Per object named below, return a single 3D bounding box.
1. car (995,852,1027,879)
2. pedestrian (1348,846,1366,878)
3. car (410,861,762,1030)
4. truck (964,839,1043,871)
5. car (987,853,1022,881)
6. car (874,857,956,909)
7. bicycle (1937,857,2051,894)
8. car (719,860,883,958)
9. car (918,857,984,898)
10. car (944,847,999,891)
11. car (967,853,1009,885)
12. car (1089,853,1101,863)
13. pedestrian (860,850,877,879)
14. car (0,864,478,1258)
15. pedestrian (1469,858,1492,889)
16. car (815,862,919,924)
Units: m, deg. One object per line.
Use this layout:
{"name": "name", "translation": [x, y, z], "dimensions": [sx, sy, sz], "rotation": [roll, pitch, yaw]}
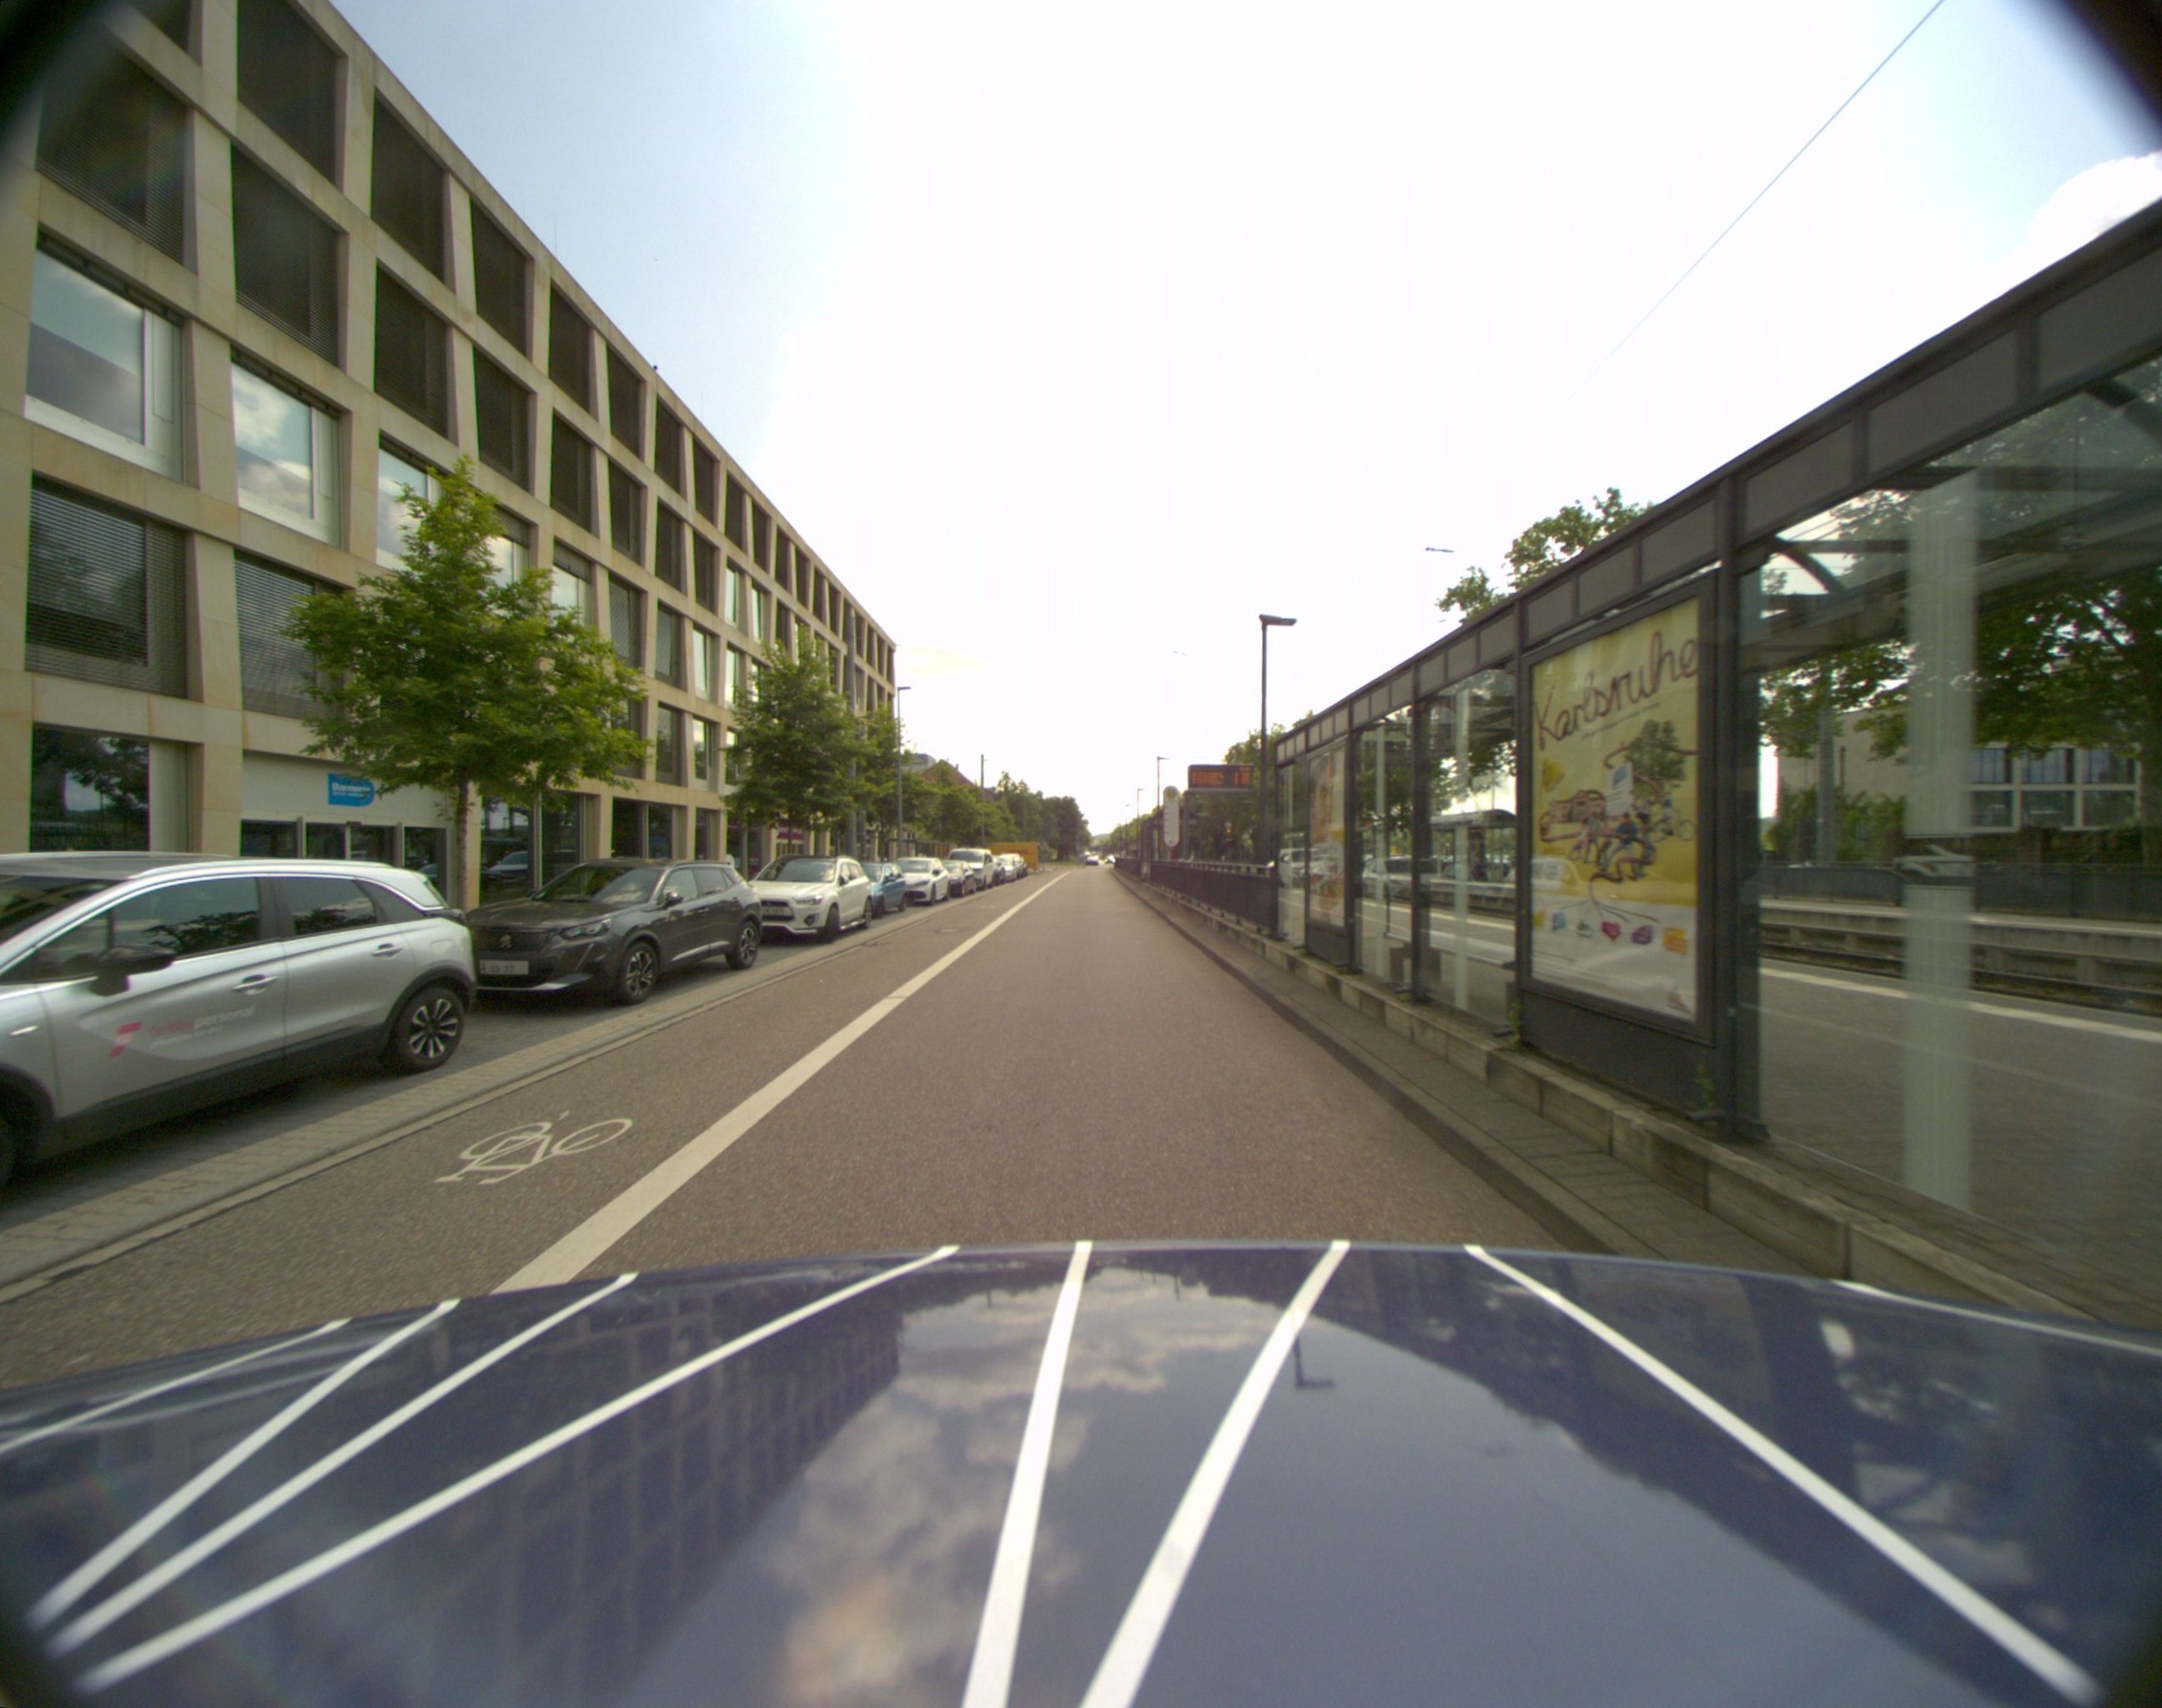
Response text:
{"name": "car", "translation": [-4.772, 0.747, 52.408], "dimensions": [1.773, 1.757, 4.839], "rotation": [0, 0, 0]}
{"name": "pedestrian", "translation": [15.920, 0.460, 43.880], "dimensions": [0.708, 1.834, 0.864], "rotation": [0, 1, -1]}
{"name": "car", "translation": [-5.575, 0.895, 9.253], "dimensions": [1.689, 1.539, 3.926], "rotation": [1, 0, 0]}
{"name": "truck", "translation": [-6.844, 0.071, 67.958], "dimensions": [6.824, 2.851, 2.454], "rotation": [0, 1, -2]}
{"name": "car", "translation": [-4.728, 0.778, 47.363], "dimensions": [1.725, 1.610, 3.860], "rotation": [0, 0, 0]}
{"name": "car", "translation": [-5.482, 0.915, 25.558], "dimensions": [1.797, 1.521, 4.158], "rotation": [1, 0, 0]}
{"name": "bicycle", "translation": [32.769, 0.754, 27.303], "dimensions": [3.045, 1.161, 0.634], "rotation": [-3, 1, 5]}
{"name": "car", "translation": [-5.382, 0.968, 15.188], "dimensions": [1.689, 1.596, 4.151], "rotation": [1, 0, 0]}
{"name": "car", "translation": [-5.217, 0.907, 31.087], "dimensions": [1.886, 1.478, 4.563], "rotation": [1, 0, 0]}
{"name": "car", "translation": [-5.165, 0.655, 36.514], "dimensions": [1.886, 1.928, 4.843], "rotation": [1, 0, 0]}
{"name": "car", "translation": [-5.057, 0.782, 41.789], "dimensions": [1.725, 1.631, 4.527], "rotation": [1, 0, 0]}
{"name": "car", "translation": [2.219, 0.641, 123.016], "dimensions": [1.784, 1.531, 4.420], "rotation": [1, 0, -1]}
{"name": "pedestrian", "translation": [-11.483, 0.566, 41.133], "dimensions": [0.639, 1.542, 0.905], "rotation": [0, 0, 0]}
{"name": "car", "translation": [-5.590, 0.932, 4.000], "dimensions": [1.690, 1.624, 3.989], "rotation": [2, 0, -2]}
{"name": "pedestrian", "translation": [16.925, 0.817, 32.199], "dimensions": [0.554, 1.262, 0.768], "rotation": [0, 0, 2]}
{"name": "car", "translation": [-5.706, 0.986, 20.744], "dimensions": [1.689, 1.449, 3.950], "rotation": [1, 0, 0]}
